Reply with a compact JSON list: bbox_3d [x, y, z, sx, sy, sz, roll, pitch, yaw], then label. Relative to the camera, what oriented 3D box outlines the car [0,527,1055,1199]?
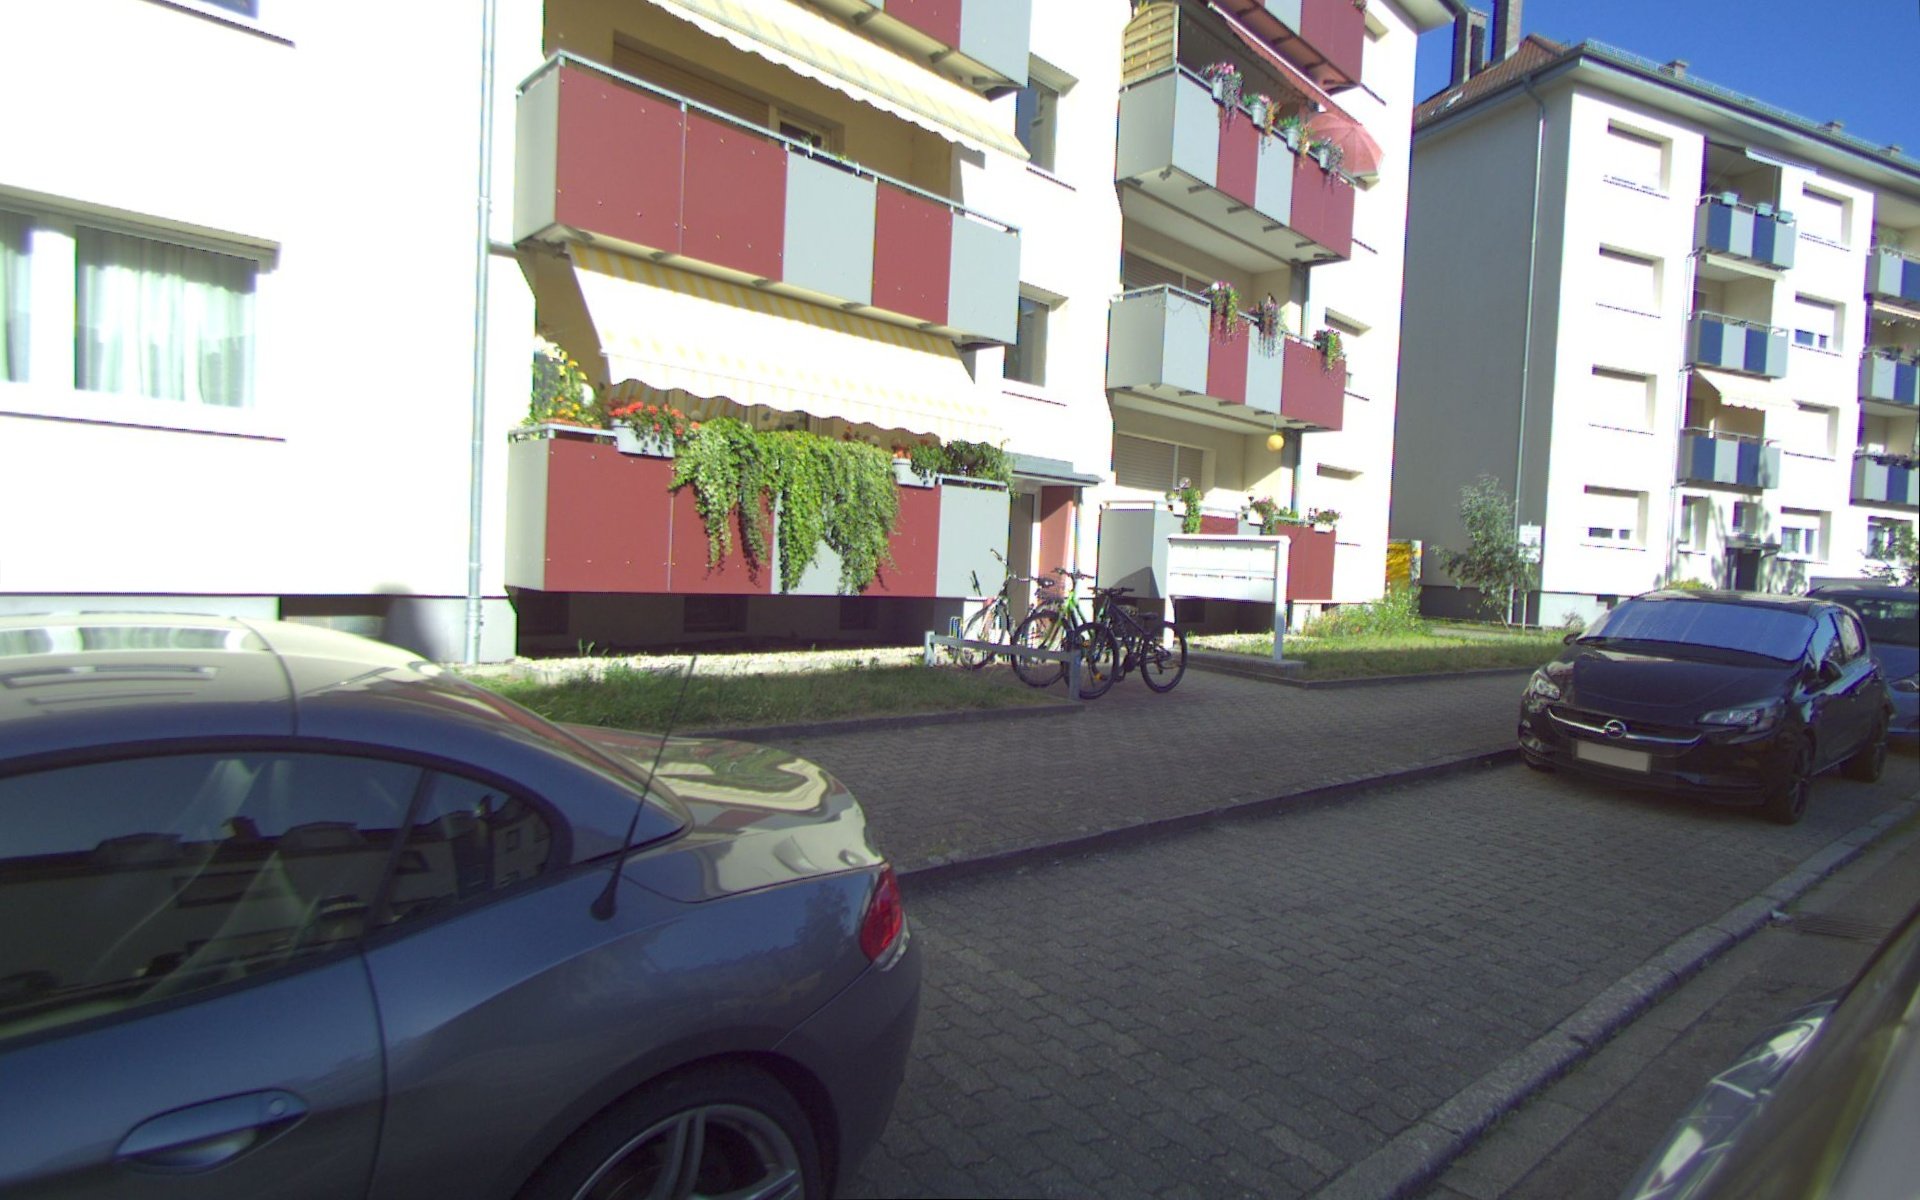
[{"bbox_3d":[-1.938,0.619,1.383,4.167,1.379,1.689,0,6,-42],"label":"car"}]

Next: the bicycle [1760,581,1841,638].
[{"bbox_3d":[19.466,0.229,23.430,1.795,1.217,0.518,2,4,-21],"label":"bicycle"}]

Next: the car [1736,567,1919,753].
[{"bbox_3d":[10.220,0.529,11.006,3.967,1.655,1.772,-1,5,-38],"label":"car"}]

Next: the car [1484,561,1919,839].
[{"bbox_3d":[5.942,0.584,7.894,3.814,1.525,1.742,0,6,-38],"label":"car"}]

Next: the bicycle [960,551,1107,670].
[{"bbox_3d":[0.810,0.091,10.806,1.732,1.164,0.408,0,5,-42],"label":"bicycle"}]

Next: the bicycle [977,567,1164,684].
[{"bbox_3d":[1.111,0.242,9.874,1.862,0.989,0.619,2,5,-41],"label":"bicycle"}]

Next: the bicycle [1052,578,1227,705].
[{"bbox_3d":[1.682,0.339,9.290,1.809,1.031,0.499,0,5,-41],"label":"bicycle"}]
